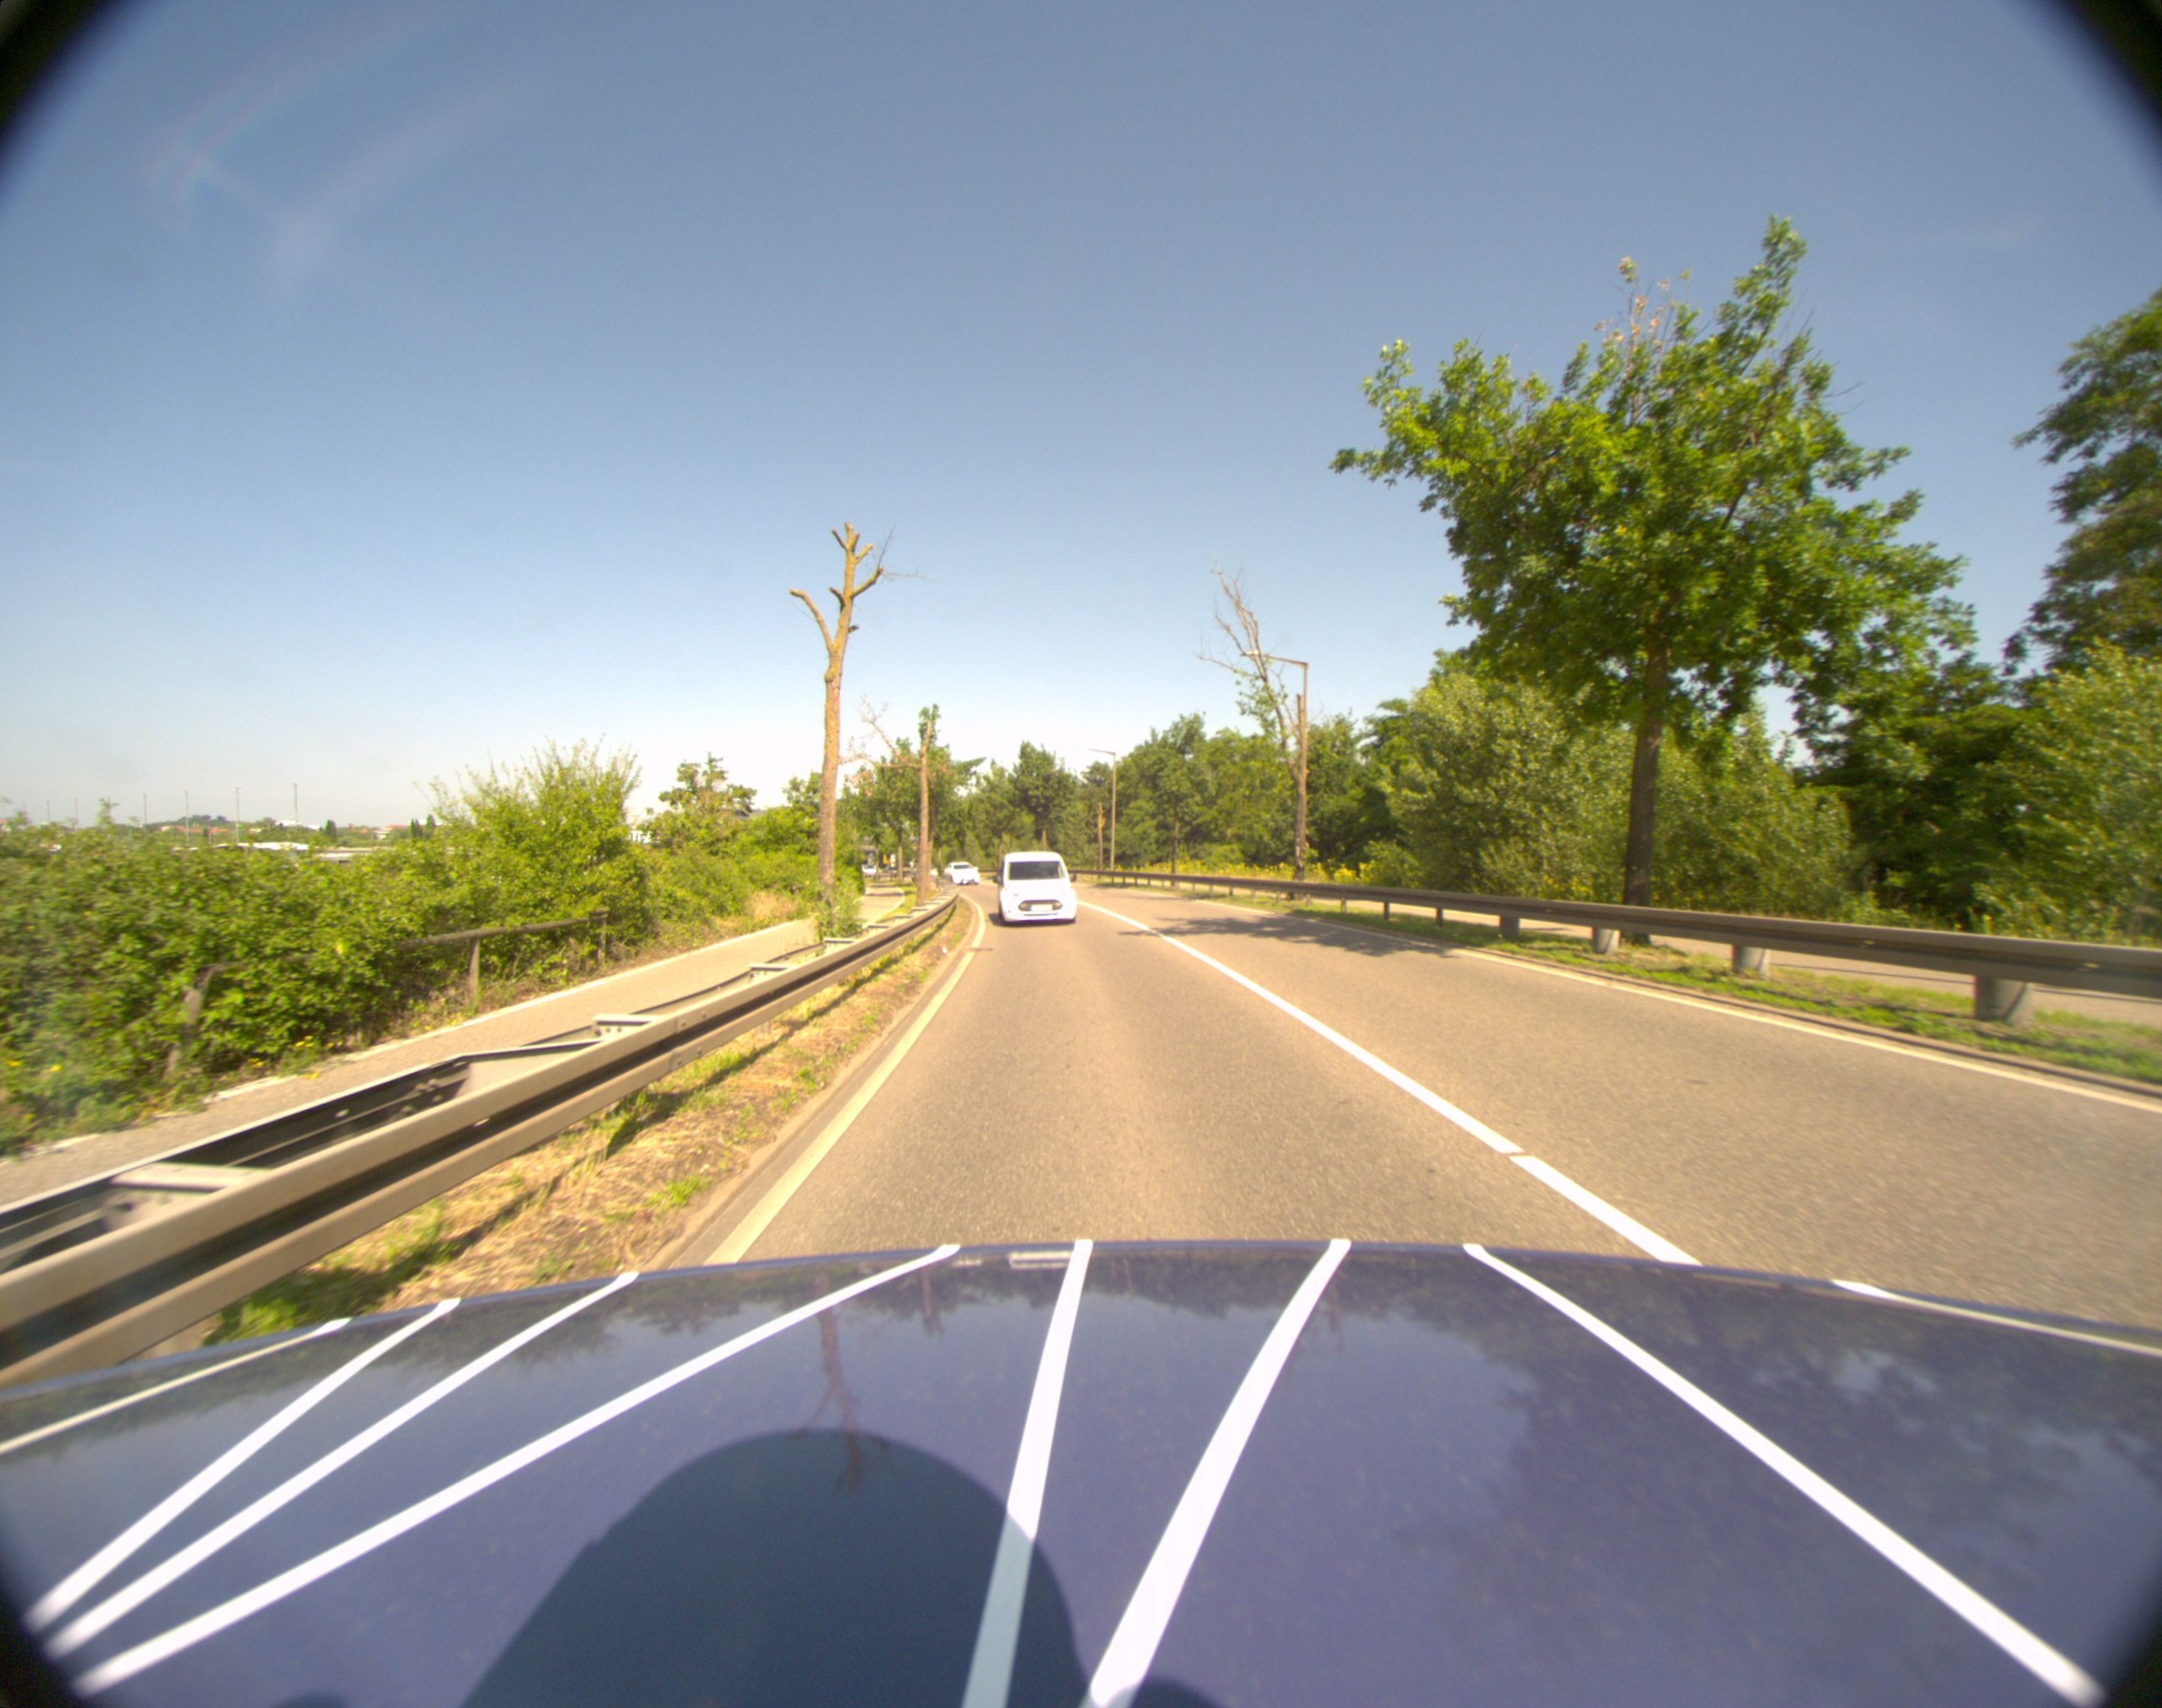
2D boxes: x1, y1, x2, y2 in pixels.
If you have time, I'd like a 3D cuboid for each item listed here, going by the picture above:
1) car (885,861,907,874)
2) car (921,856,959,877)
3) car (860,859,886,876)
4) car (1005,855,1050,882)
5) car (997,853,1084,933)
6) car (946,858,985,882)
[{"bbox_3d":[-22.355,1.591,91.843,1.709,1.440,4.112,-3,1,-26],"label":"car"},{"bbox_3d":[-11.696,1.017,62.890,2.003,1.575,3.991,-1,0,-27],"label":"car"},{"bbox_3d":[-23.285,1.513,84.916,2.002,1.757,3.991,-3,1,-27],"label":"car"},{"bbox_3d":[-3.324,0.859,46.866,1.937,1.524,4.112,-3,1,-15],"label":"car"},{"bbox_3d":[-1.175,0.909,19.842,1.898,1.785,4.444,-2,0,-7],"label":"car"},{"bbox_3d":[-7.747,1.070,50.681,1.848,1.479,4.145,-2,0,-18],"label":"car"}]
